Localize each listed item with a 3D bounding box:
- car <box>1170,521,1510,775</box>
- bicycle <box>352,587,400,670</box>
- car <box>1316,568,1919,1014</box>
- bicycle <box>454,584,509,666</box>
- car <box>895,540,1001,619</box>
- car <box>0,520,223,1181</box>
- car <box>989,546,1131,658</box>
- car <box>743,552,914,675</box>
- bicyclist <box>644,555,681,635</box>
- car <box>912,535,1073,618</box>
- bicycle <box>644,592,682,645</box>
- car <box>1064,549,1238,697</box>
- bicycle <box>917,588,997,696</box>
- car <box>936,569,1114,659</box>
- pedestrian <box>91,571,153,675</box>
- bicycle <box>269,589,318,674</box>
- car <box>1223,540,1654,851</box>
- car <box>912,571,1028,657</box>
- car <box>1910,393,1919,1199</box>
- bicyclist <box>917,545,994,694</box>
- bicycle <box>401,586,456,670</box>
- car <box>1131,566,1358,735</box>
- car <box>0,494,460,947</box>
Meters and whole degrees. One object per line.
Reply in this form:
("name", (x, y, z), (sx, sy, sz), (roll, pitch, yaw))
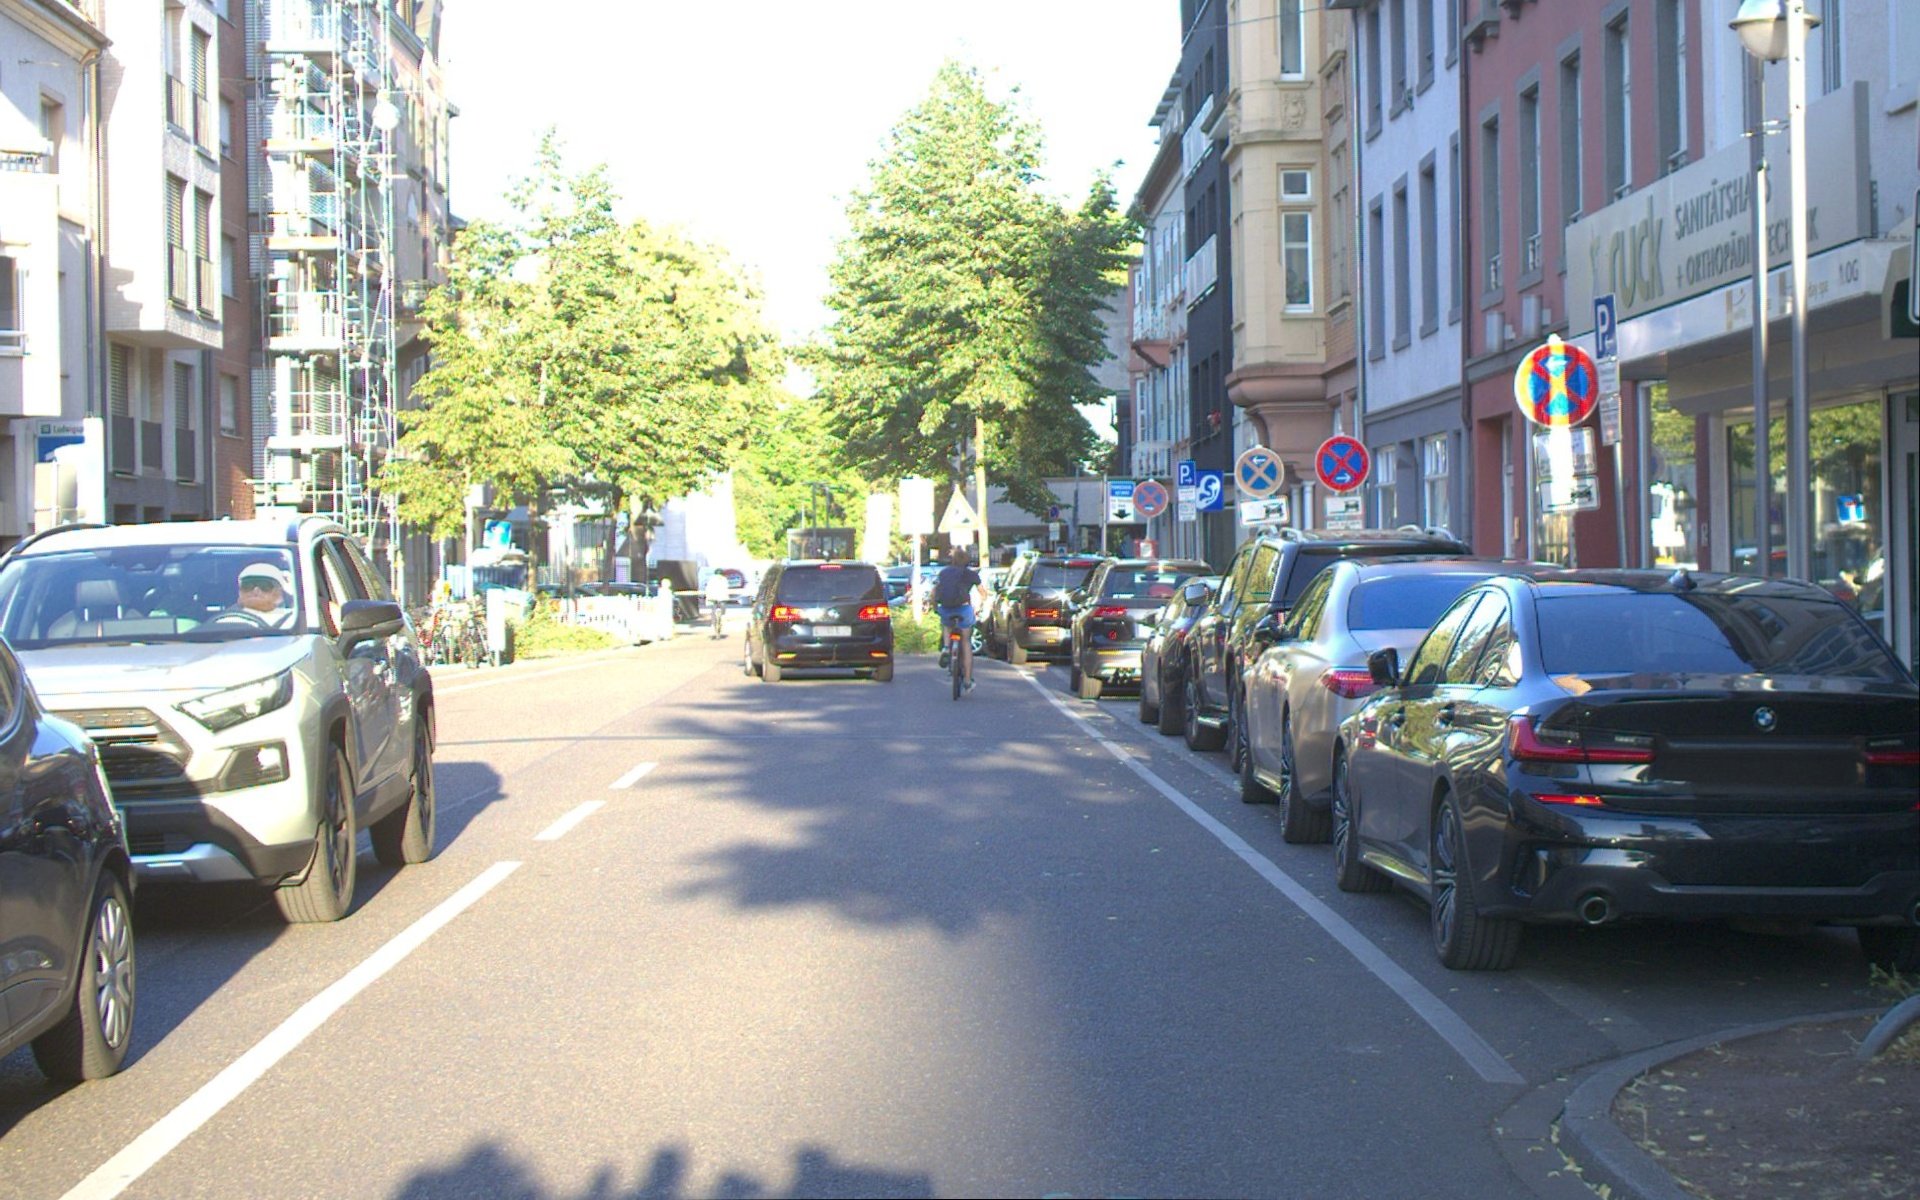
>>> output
("car", (2.784, 0.337, 26.303), (1.883, 1.748, 5.059), (0, 0, -2))
("bicycle", (-9.939, 0.471, 58.561), (0.780, 1.368, 3.143), (0, 0, -9))
("car", (2.566, 0.601, 13.423), (1.752, 1.415, 4.510), (0, 1, -2))
("bicycle", (-8.205, 0.423, 58.850), (0.844, 1.346, 3.188), (-1, 0, -9))
("car", (-0.339, -0.508, 87.364), (2.265, 1.760, 4.510), (5, 0, -4))
("car", (-3.124, 0.610, 8.288), (1.723, 1.544, 4.465), (-2, 0, 0))
("car", (1.543, 0.036, 54.357), (1.824, 1.689, 4.369), (0, 0, -4))
("car", (-1.845, 0.182, 47.008), (1.993, 1.596, 4.510), (0, 0, -6))
("bicyclist", (-6.917, -0.113, 80.008), (0.780, 1.823, 1.007), (-2, 0, -3))
("car", (0.852, -0.602, 87.650), (3.987, 2.007, 2.000), (-1, 1, 4))
("bicycle", (-6.903, 0.419, 79.971), (0.780, 1.200, 2.021), (-2, 0, -3))
("car", (2.221, 0.267, 40.961), (1.812, 1.662, 4.206), (0, 0, 0))
("bicycle", (-0.042, 0.475, 39.834), (0.780, 1.200, 2.021), (-2, 0, -3))
("car", (1.126, 0.239, 60.059), (2.968, 1.531, 1.433), (0, 0, -5))
("pedestrian", (-13.313, 0.359, 54.615), (0.717, 1.636, 0.855), (0, 0, 4))
("bicycle", (-11.299, 0.519, 58.323), (0.721, 1.391, 3.154), (0, 0, -9))
("car", (2.548, 0.474, 19.437), (1.812, 1.522, 4.993), (0, 0, 1))
("car", (0.161, 0.282, 68.985), (1.993, 1.662, 4.510), (0, 0, -4))
("car", (2.604, 0.571, 3.981), (1.654, 1.772, 4.012), (0, 1, -4))
("bicyclist", (-0.058, 0.223, 39.870), (0.780, 1.690, 1.007), (-2, 0, -3))
("bicycle", (-9.093, 0.460, 58.707), (0.892, 1.391, 3.167), (-1, 0, -9))
("car", (2.620, 0.447, 32.532), (1.762, 1.478, 4.307), (0, 0, 0))
("car", (-3.449, 0.460, 15.088), (1.940, 1.639, 4.739), (-2, 0, -2))
